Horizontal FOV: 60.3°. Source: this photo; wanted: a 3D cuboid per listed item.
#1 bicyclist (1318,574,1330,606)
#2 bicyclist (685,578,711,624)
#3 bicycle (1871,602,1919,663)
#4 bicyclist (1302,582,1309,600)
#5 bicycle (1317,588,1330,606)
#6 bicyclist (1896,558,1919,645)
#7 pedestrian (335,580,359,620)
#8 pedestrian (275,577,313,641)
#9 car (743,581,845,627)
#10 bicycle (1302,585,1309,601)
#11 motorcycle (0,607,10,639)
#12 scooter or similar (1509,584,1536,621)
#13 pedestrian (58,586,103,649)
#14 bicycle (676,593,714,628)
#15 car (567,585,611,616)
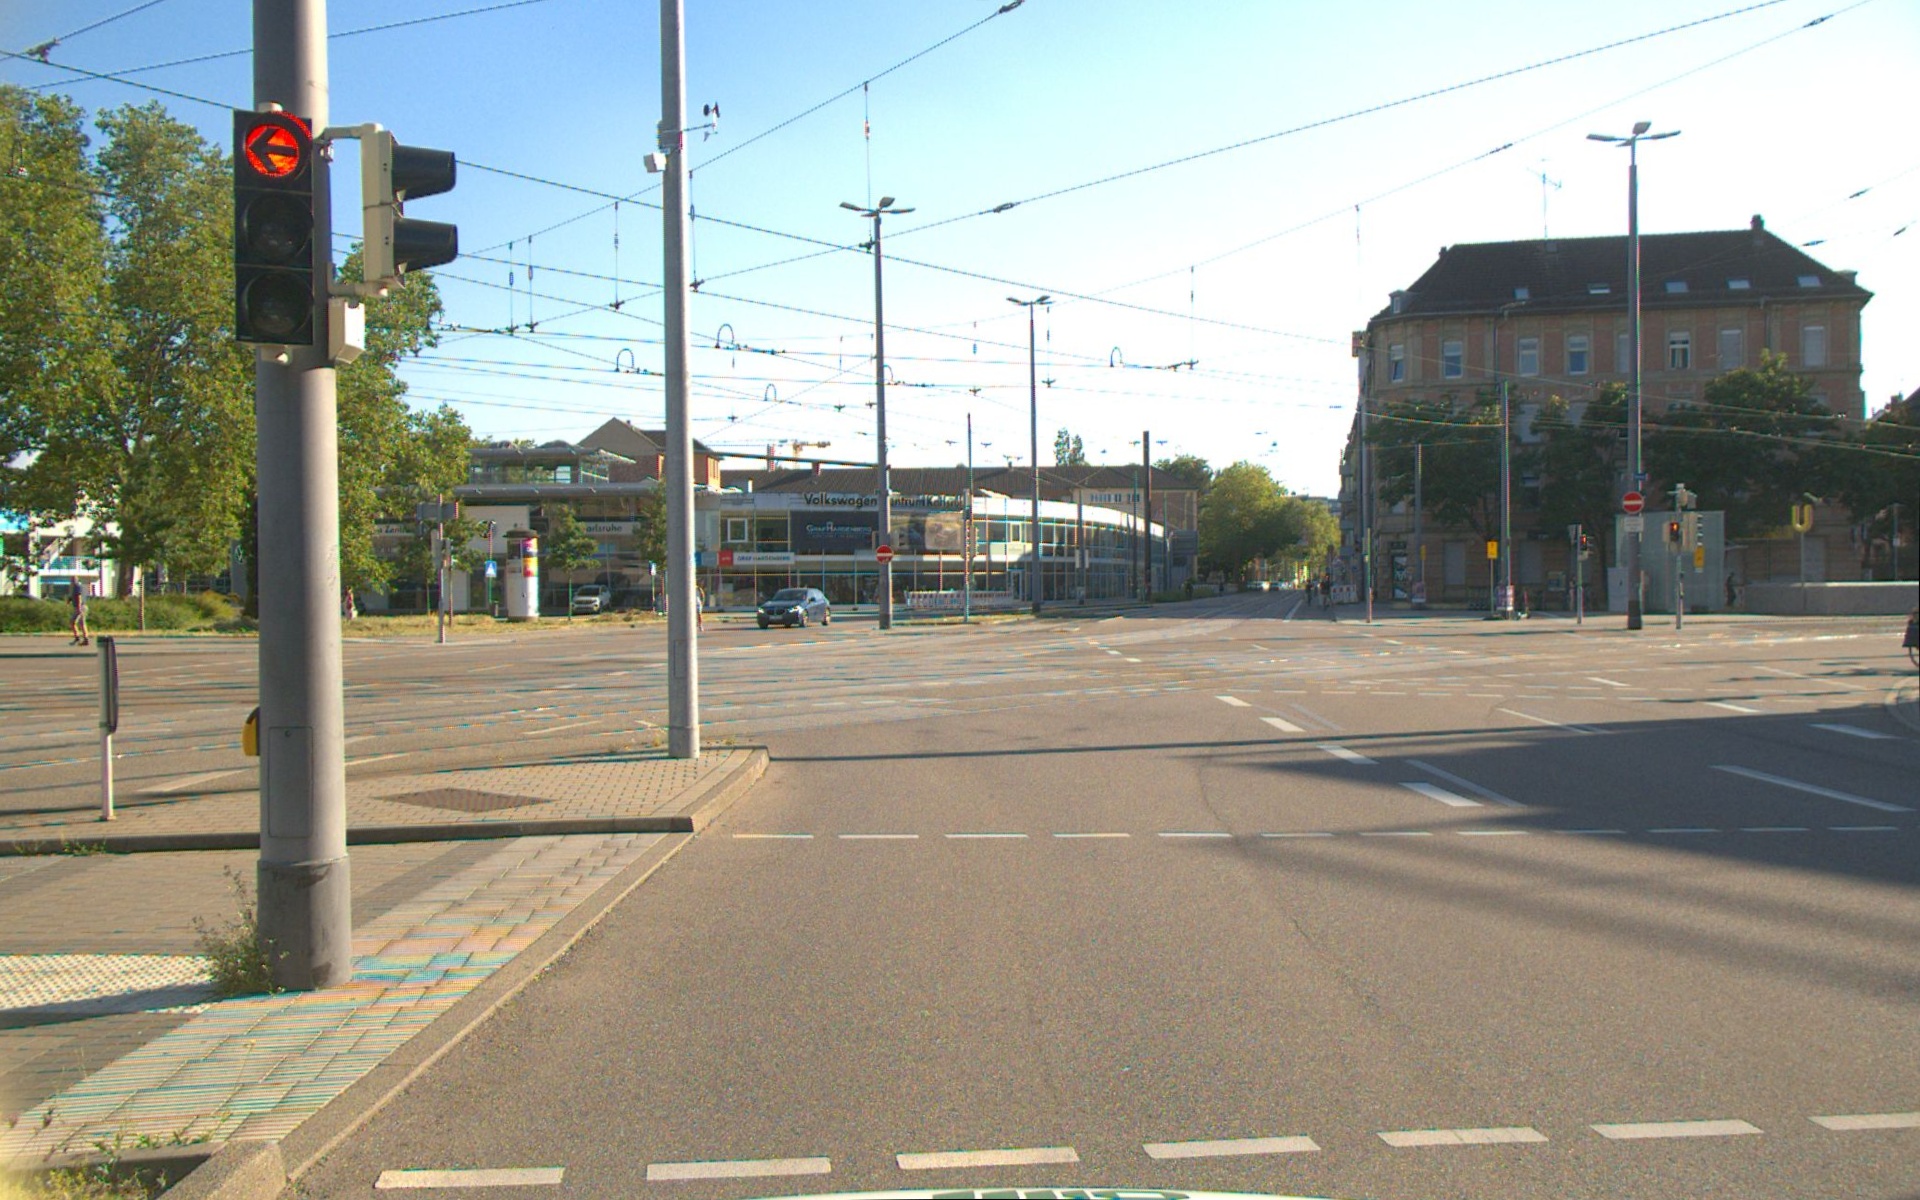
[{"bbox_3d":[19.779,-0.538,89.881,0.508,1.730,0.516,1,-1,2],"label":"bicyclist"},{"bbox_3d":[-9.460,0.032,59.701,0.585,1.644,0.823,1,-1,17],"label":"bicyclist"},{"bbox_3d":[17.690,0.604,30.205,0.524,1.067,2.316,1,1,-9],"label":"bicycle"},{"bbox_3d":[22.038,-0.542,105.443,0.399,1.136,0.399,1,-1,11],"label":"bicyclist"},{"bbox_3d":[19.764,-0.166,89.865,0.643,0.969,1.601,1,0,14],"label":"bicycle"},{"bbox_3d":[17.689,0.024,30.259,0.505,1.584,0.945,1,0,-9],"label":"bicyclist"},{"bbox_3d":[-26.370,0.010,71.136,0.839,1.723,0.496,1,-1,-3],"label":"pedestrian"},{"bbox_3d":[-20.251,0.259,50.295,0.777,1.919,0.759,1,-1,6],"label":"pedestrian"},{"bbox_3d":[-6.147,0.162,61.599,1.954,1.613,3.996,1,0,26],"label":"car"},{"bbox_3d":[22.059,-0.449,105.536,0.401,0.958,1.847,1,0,12],"label":"bicycle"},{"bbox_3d":[-28.922,0.669,48.511,1.748,0.930,0.675,1,0,-21],"label":"motorcycle"},{"bbox_3d":[21.604,0.098,63.527,0.769,1.400,1.910,1,0,13],"label":"scooter or similar"},{"bbox_3d":[-24.489,0.489,46.082,0.777,1.736,0.759,1,-1,6],"label":"pedestrian"},{"bbox_3d":[-9.525,0.383,59.477,0.599,1.210,1.870,1,0,17],"label":"bicycle"},{"bbox_3d":[-22.134,0.009,98.774,1.954,1.780,3.997,1,0,-4],"label":"car"}]
